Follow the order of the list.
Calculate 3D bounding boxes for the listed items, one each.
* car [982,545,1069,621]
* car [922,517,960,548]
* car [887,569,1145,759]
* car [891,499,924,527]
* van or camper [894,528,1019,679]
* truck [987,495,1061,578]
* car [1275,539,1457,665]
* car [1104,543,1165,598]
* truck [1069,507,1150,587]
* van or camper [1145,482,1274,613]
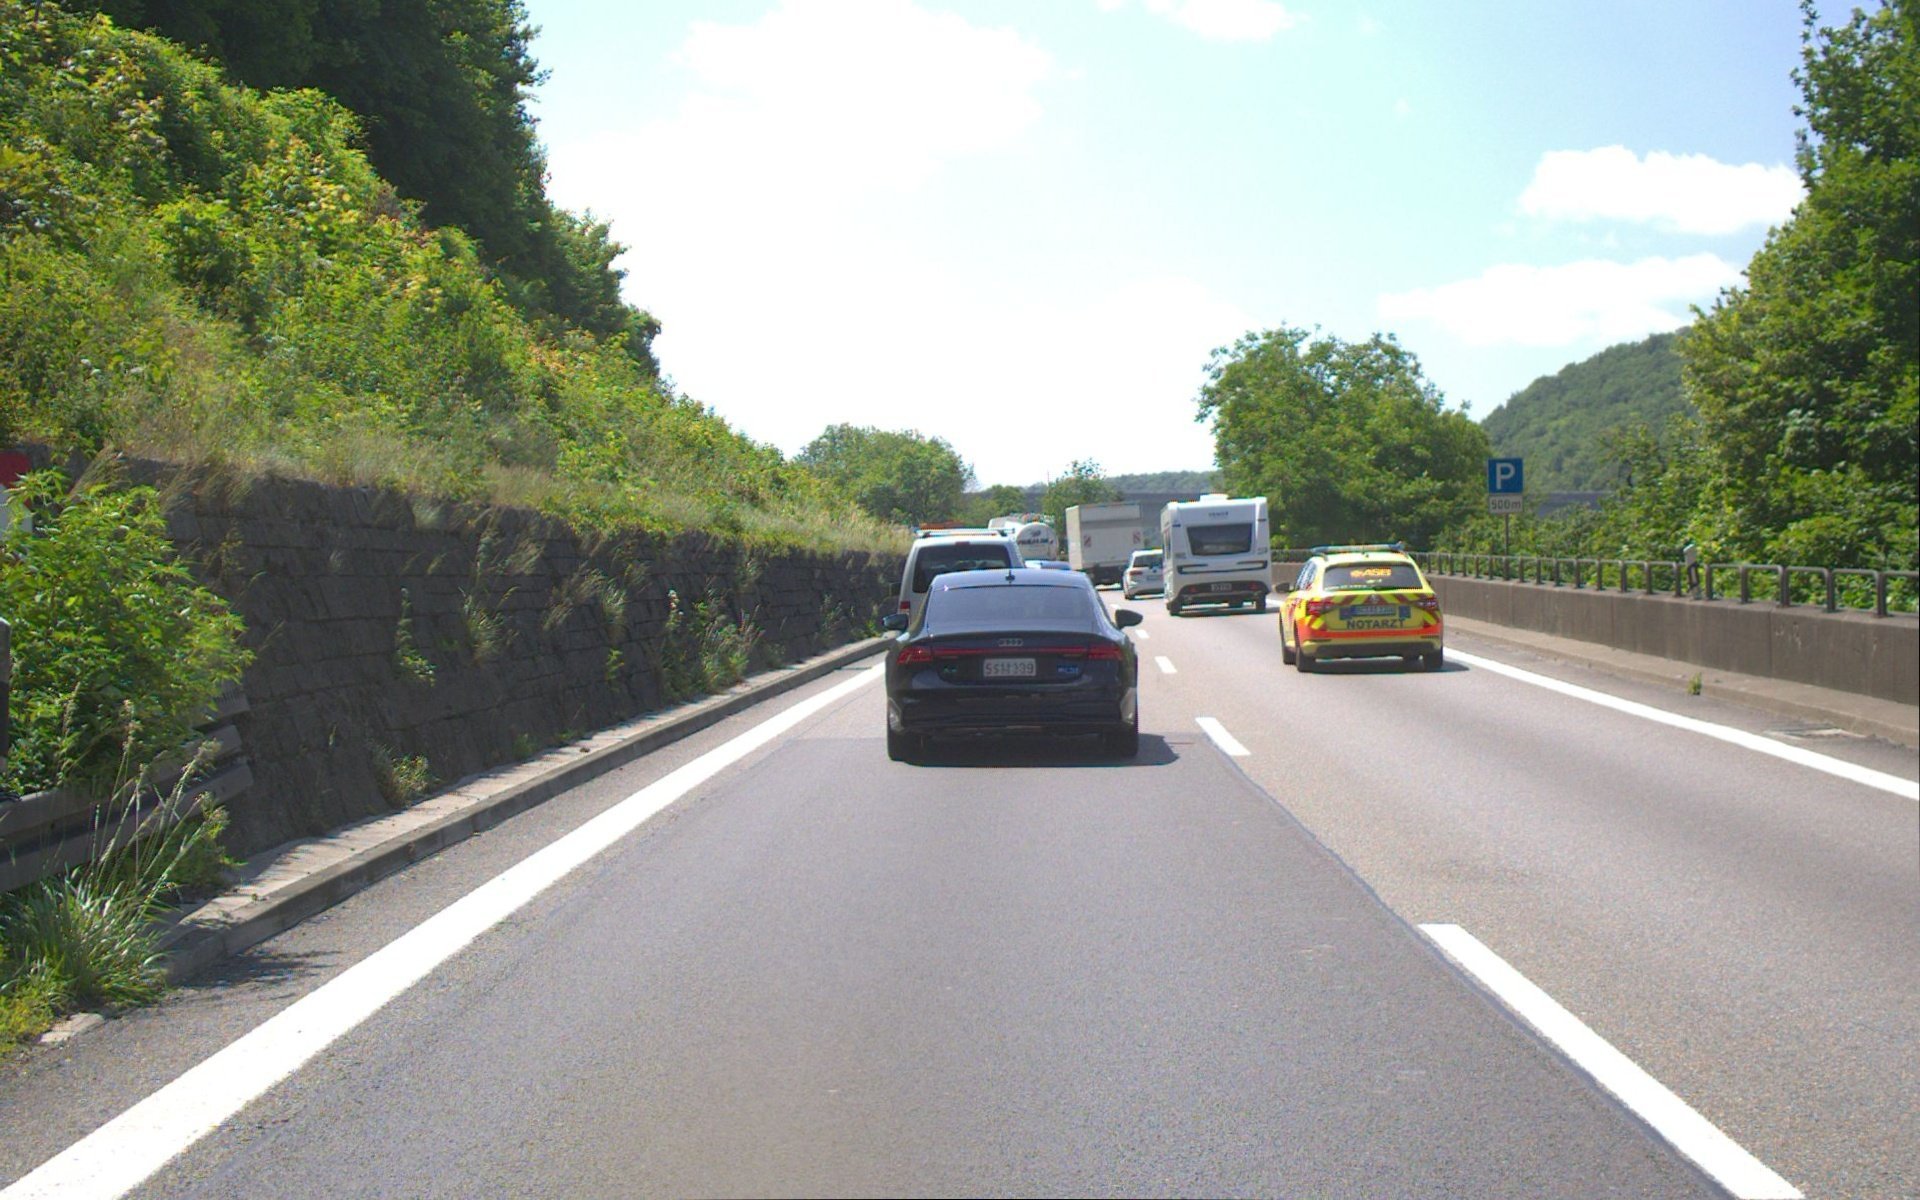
[{"bbox_3d":[1.431,-0.406,76.775,1.773,1.631,4.000,1,1,-1],"label":"car"},{"bbox_3d":[-1.253,-4.403,225.250,1.993,2.007,4.001,0,1,-7],"label":"car"},{"bbox_3d":[0.394,0.464,26.717,1.837,1.345,4.000,1,0,0],"label":"car"},{"bbox_3d":[-3.822,-6.369,251.601,1.993,2.007,4.001,0,1,-7],"label":"car"},{"bbox_3d":[-0.083,0.048,43.595,1.391,1.810,4.000,1,0,-3],"label":"van or camper"},{"bbox_3d":[3.175,-3.189,173.061,2.732,4.082,7.481,1,1,-6],"label":"truck"},{"bbox_3d":[5.061,0.030,43.327,1.863,1.483,4.000,1,0,1],"label":"car"},{"bbox_3d":[5.621,-0.963,110.983,1.841,1.711,4.000,1,1,1],"label":"car"},{"bbox_3d":[6.039,-2.158,139.858,2.841,3.120,7.480,1,1,-1],"label":"truck"},{"bbox_3d":[5.771,-1.170,80.257,2.455,2.908,6.126,1,0,-1],"label":"van or camper"}]
